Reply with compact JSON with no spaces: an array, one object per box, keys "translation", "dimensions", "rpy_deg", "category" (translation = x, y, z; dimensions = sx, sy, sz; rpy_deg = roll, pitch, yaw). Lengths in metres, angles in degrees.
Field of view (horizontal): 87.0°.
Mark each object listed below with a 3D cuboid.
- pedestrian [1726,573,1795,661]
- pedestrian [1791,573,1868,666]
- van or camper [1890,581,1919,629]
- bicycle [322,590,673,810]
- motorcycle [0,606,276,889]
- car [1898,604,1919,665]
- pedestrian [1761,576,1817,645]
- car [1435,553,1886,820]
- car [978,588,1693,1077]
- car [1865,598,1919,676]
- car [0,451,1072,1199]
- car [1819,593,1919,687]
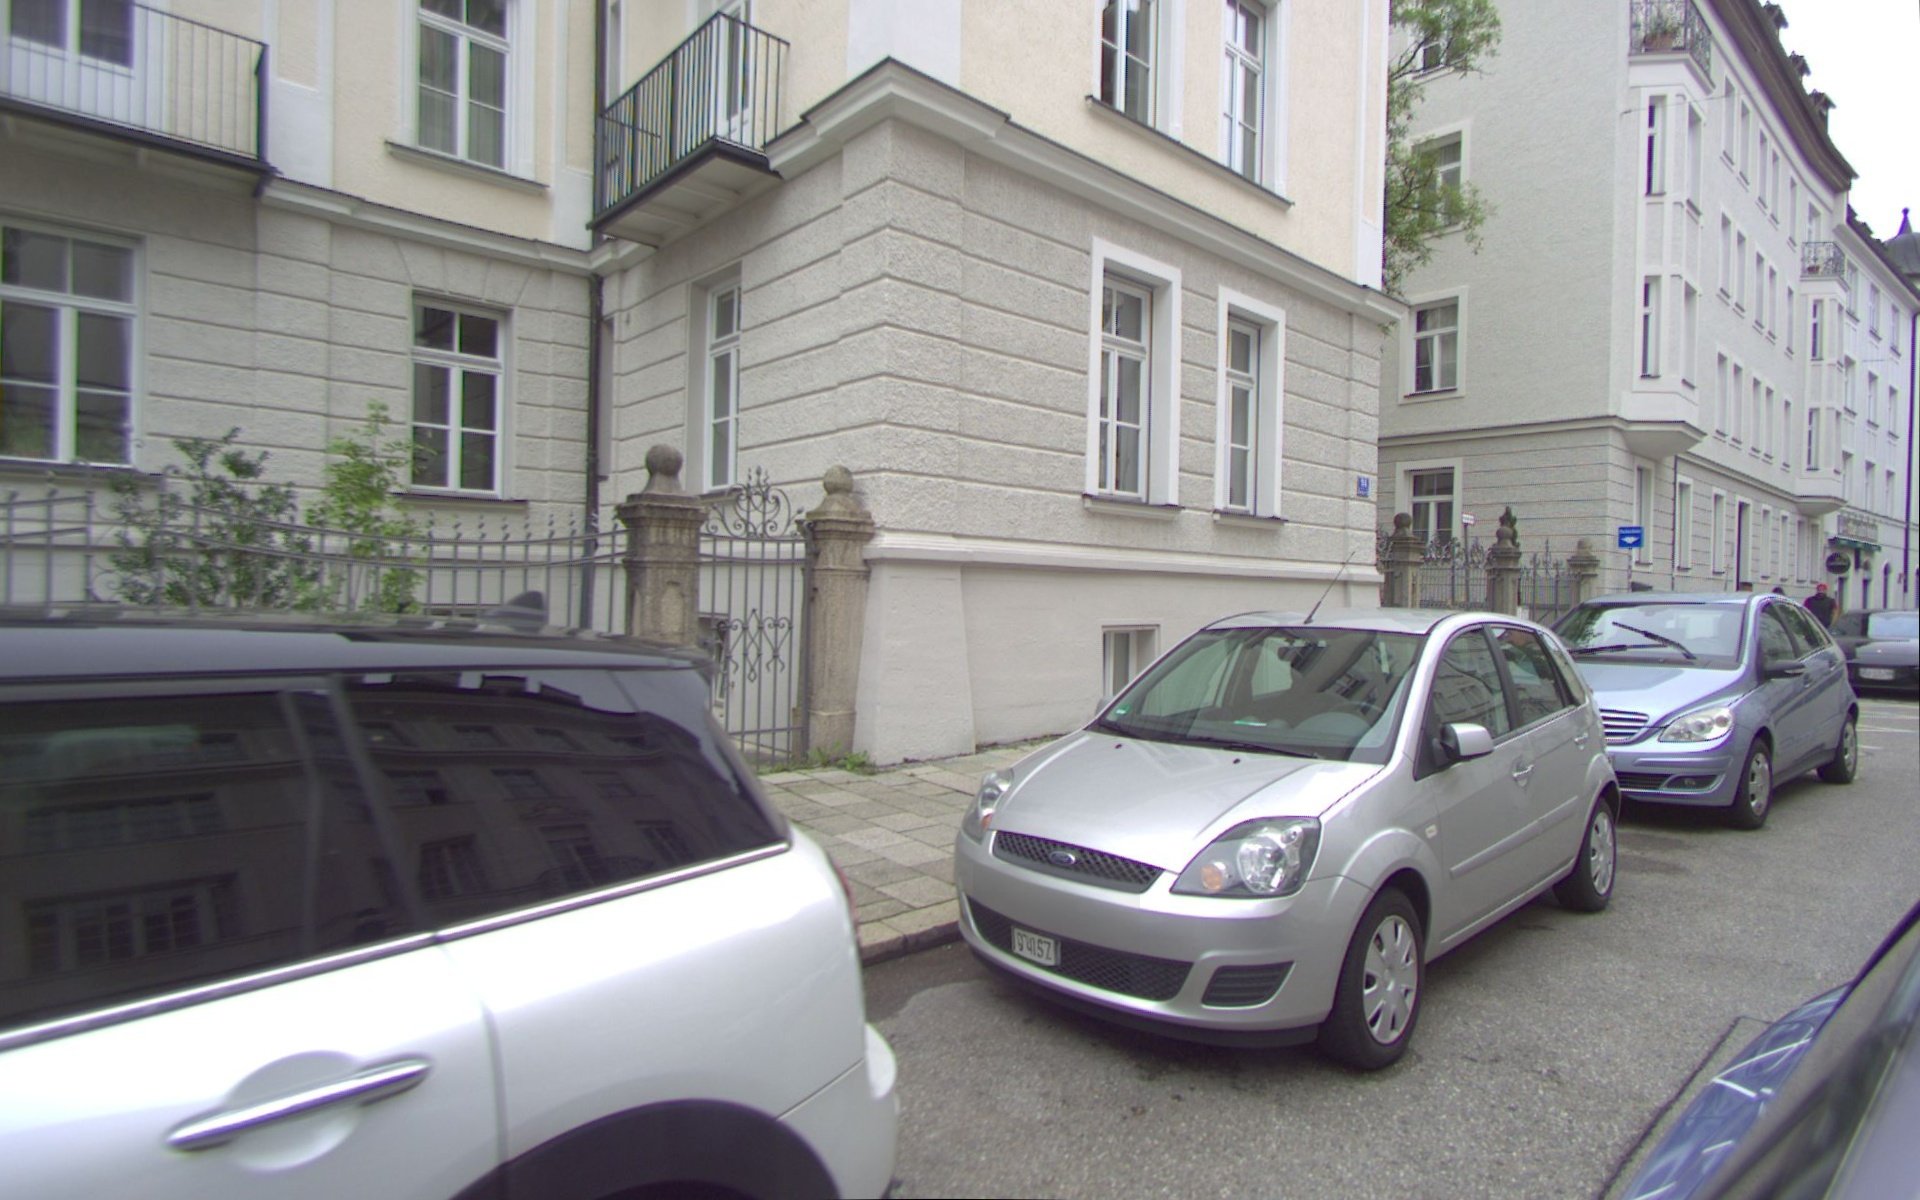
[{"translation":[17.369,0.352,21.971],"dimensions":[1.091,1.808,0.885],"rpy_deg":[0,3,-39],"category":"pedestrian"},{"translation":[17.968,0.389,20.924],"dimensions":[1.090,1.834,0.886],"rpy_deg":[1,2,-35],"category":"pedestrian"},{"translation":[58.615,0.332,59.436],"dimensions":[5.850,2.749,2.268],"rpy_deg":[1,-2,43],"category":"van or camper"},{"translation":[-2.683,0.520,6.037],"dimensions":[1.849,1.140,0.435],"rpy_deg":[0,1,-41],"category":"bicycle"},{"translation":[-4.104,0.602,4.317],"dimensions":[1.928,1.126,0.609],"rpy_deg":[0,1,-38],"category":"motorcycle"},{"translation":[24.268,0.809,24.668],"dimensions":[4.892,1.417,1.837],"rpy_deg":[1,-2,-45],"category":"car"},{"translation":[23.411,0.285,28.578],"dimensions":[1.091,1.835,0.886],"rpy_deg":[1,4,-40],"category":"pedestrian"},{"translation":[5.767,0.552,8.126],"dimensions":[4.321,1.590,1.825],"rpy_deg":[1,-2,-39],"category":"car"},{"translation":[1.918,0.675,4.742],"dimensions":[3.391,1.424,1.757],"rpy_deg":[0,0,-41],"category":"car"},{"translation":[20.275,0.730,20.921],"dimensions":[4.342,1.505,1.763],"rpy_deg":[1,-2,-41],"category":"car"},{"translation":[-1.878,0.629,1.159],"dimensions":[3.994,1.523,1.787],"rpy_deg":[0,0,-41],"category":"car"},{"translation":[16.819,0.643,17.704],"dimensions":[4.629,1.476,1.997],"rpy_deg":[0,0,-40],"category":"car"}]
